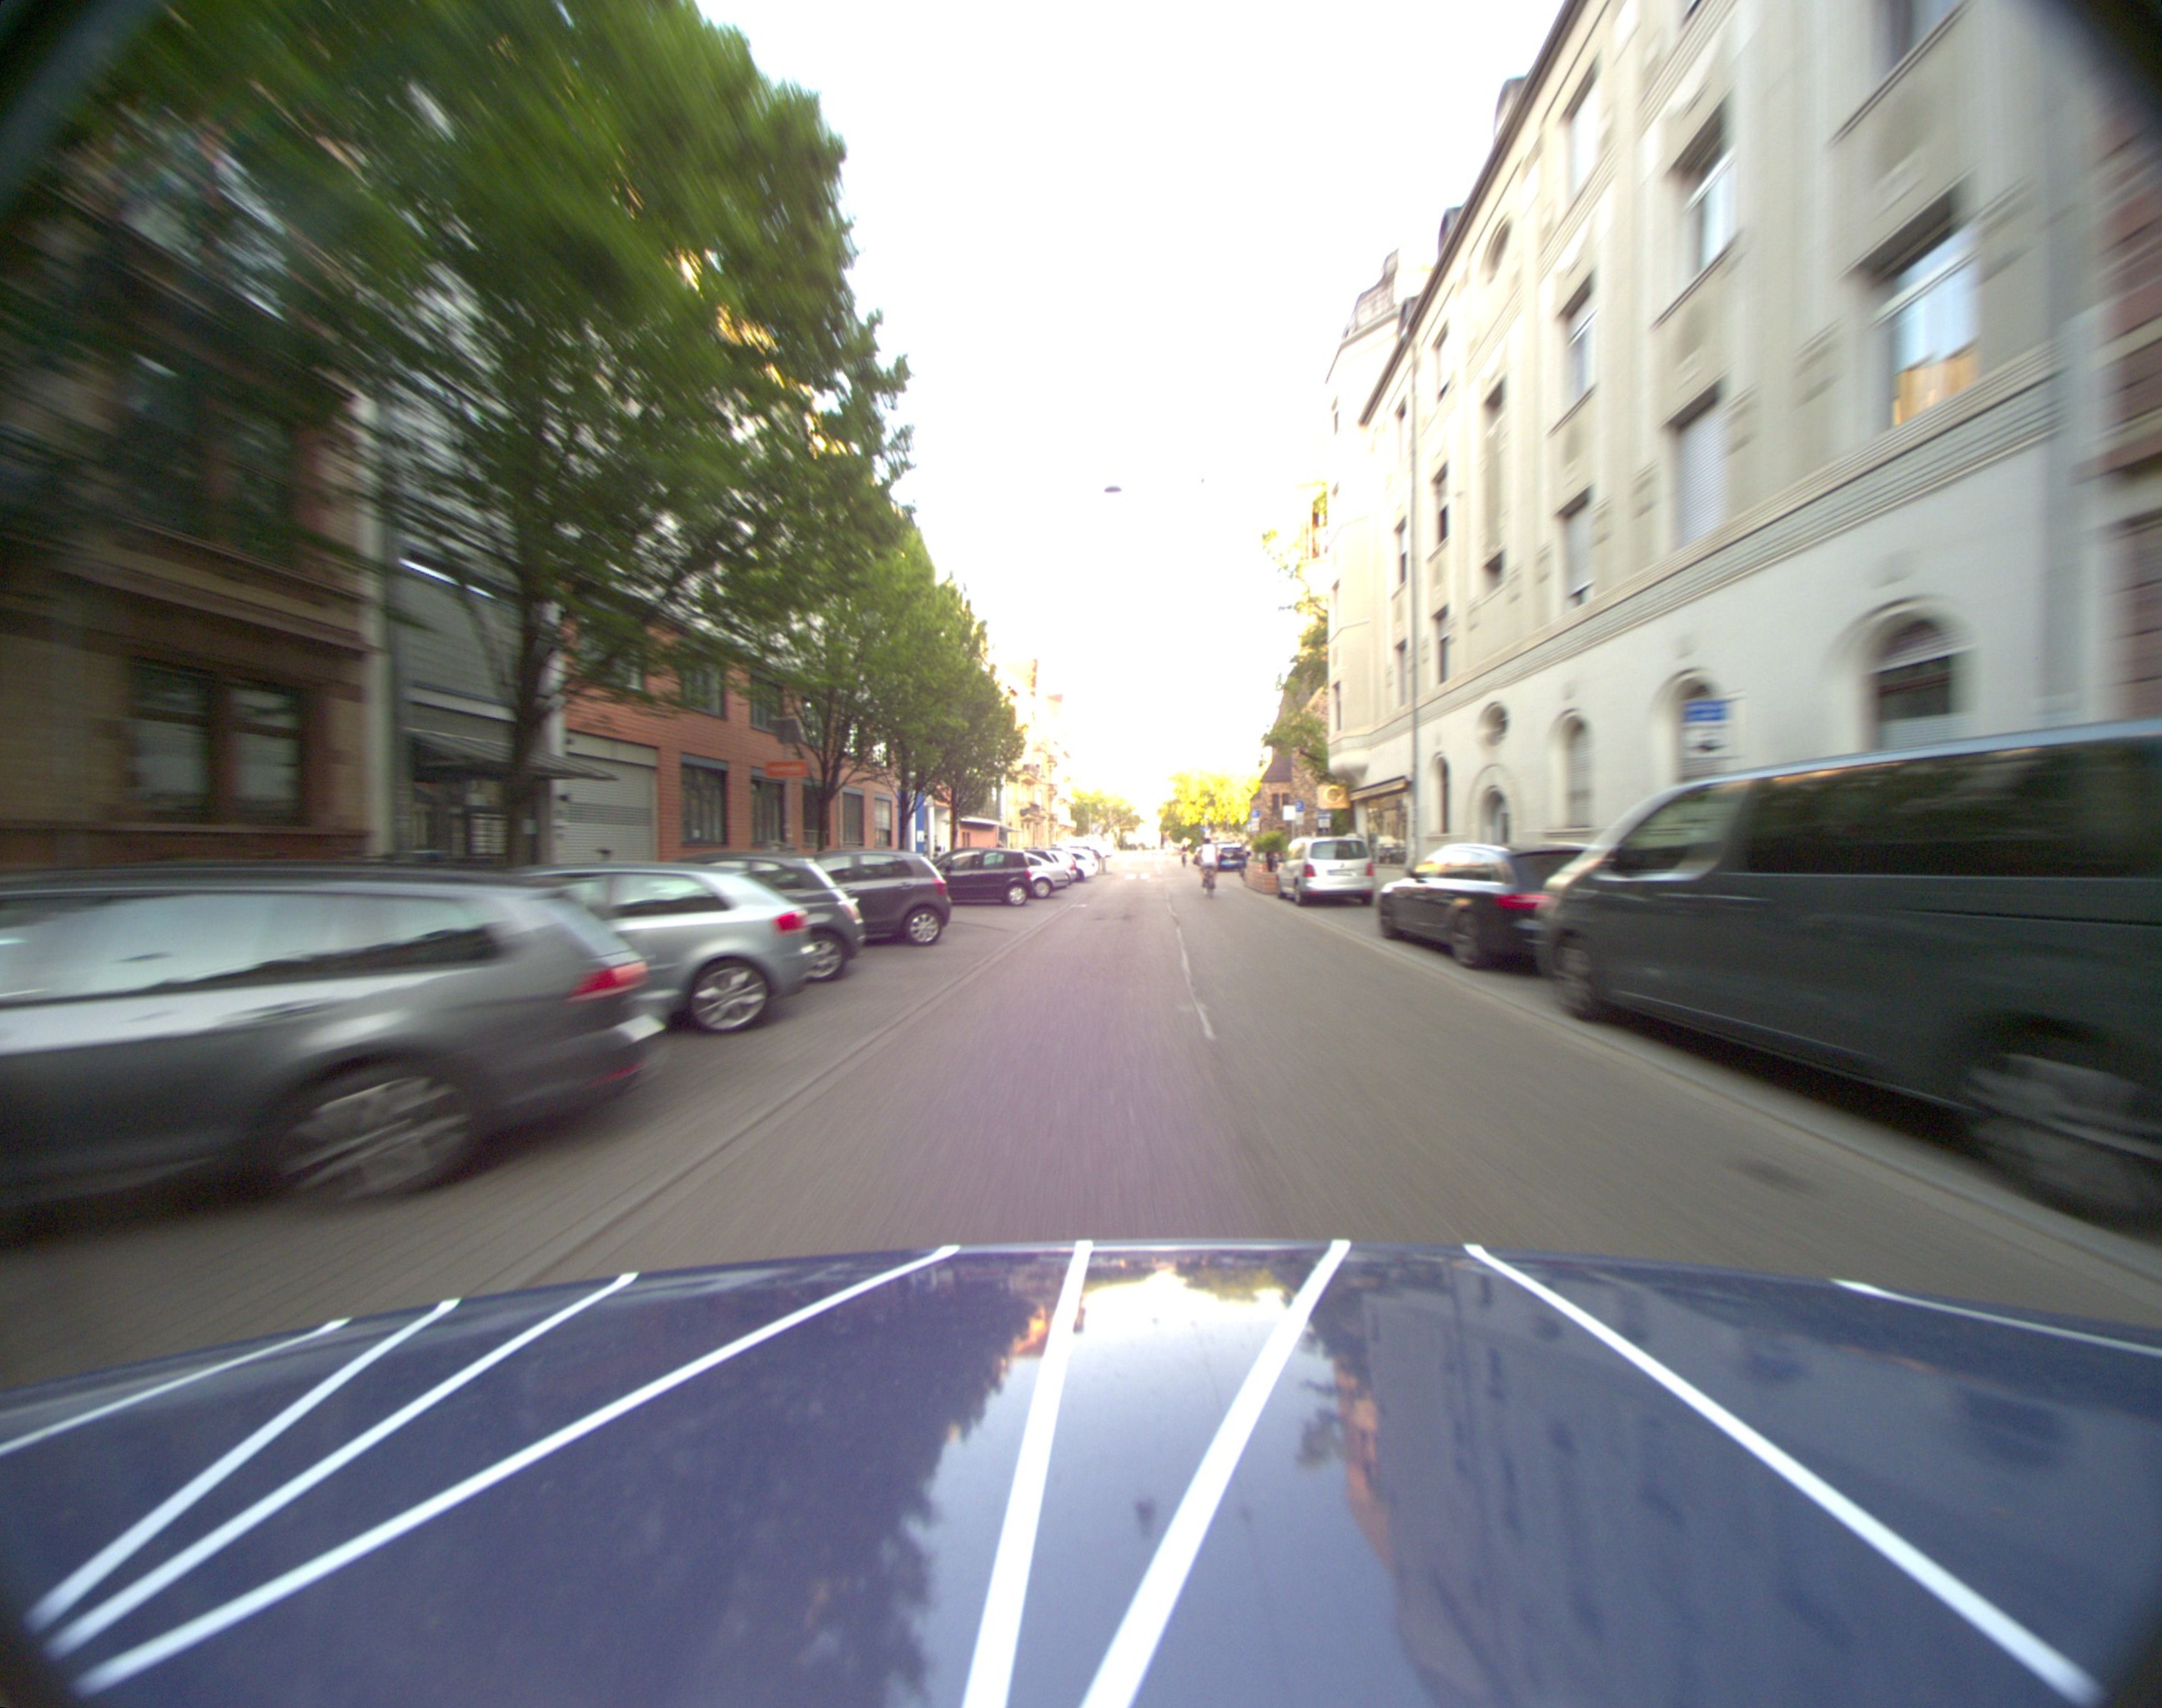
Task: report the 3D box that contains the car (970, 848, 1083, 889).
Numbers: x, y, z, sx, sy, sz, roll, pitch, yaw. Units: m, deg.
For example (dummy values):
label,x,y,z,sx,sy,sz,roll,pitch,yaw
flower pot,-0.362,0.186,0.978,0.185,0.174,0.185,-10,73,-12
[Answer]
label,x,y,z,sx,sy,sz,roll,pitch,yaw
car,-2.053,0.547,28.526,3.840,1.422,1.674,1,2,-24

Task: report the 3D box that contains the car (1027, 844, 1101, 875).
label,x,y,z,sx,sy,sz,roll,pitch,yaw
car,-0.958,0.297,42.209,3.835,1.510,1.676,2,2,-10

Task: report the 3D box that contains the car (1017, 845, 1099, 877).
label,x,y,z,sx,sy,sz,roll,pitch,yaw
car,-1.195,0.367,39.392,3.839,1.510,1.674,1,2,-23

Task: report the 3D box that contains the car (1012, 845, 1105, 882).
label,x,y,z,sx,sy,sz,roll,pitch,yaw
car,-1.017,0.433,34.316,3.840,1.510,1.673,1,2,-27

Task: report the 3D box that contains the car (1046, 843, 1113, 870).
label,x,y,z,sx,sy,sz,roll,pitch,yaw
car,-0.122,0.162,47.160,3.835,1.510,1.676,2,2,-10

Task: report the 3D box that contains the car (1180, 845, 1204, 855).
label,x,y,z,sx,sy,sz,roll,pitch,yaw
car,20.083,-0.782,137.296,4.074,1.688,1.680,2,2,16

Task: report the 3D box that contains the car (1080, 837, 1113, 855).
label,x,y,z,sx,sy,sz,roll,pitch,yaw
car,2.106,-1.046,101.957,4.201,2.280,1.673,1,2,-34

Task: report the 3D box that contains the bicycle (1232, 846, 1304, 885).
label,x,y,z,sx,sy,sz,roll,pitch,yaw
bicycle,7.174,0.446,29.161,2.618,1.391,0.602,-2,2,18

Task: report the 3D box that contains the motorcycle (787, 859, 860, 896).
label,x,y,z,sx,sy,sz,roll,pitch,yaw
motorcycle,-7.315,0.657,21.574,1.983,0.921,0.591,3,1,19

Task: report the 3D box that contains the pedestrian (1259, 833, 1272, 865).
label,x,y,z,sx,sy,sz,roll,pitch,yaw
pedestrian,10.134,-0.259,41.847,0.566,1.723,0.562,-2,2,4

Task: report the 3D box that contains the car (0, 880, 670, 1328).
label,x,y,z,sx,sy,sz,roll,pitch,yaw
car,-4.271,0.906,3.419,4.178,1.480,1.826,1,1,-31

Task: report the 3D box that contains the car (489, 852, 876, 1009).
label,x,y,z,sx,sy,sz,roll,pitch,yaw
car,-4.368,0.774,8.817,3.636,1.509,1.621,1,1,-22

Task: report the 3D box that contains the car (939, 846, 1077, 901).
label,x,y,z,sx,sy,sz,roll,pitch,yaw
car,-2.249,0.586,23.427,3.840,1.557,1.674,1,2,-24

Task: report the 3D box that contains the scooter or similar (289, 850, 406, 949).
label,x,y,z,sx,sy,sz,roll,pitch,yaw
scooter or similar,-10.193,0.608,10.585,0.329,1.274,1.068,-1,2,35

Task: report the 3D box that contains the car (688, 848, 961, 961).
label,x,y,z,sx,sy,sz,roll,pitch,yaw
car,-3.975,0.708,11.851,3.806,1.509,1.646,1,1,-27

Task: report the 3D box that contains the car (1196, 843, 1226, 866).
label,x,y,z,sx,sy,sz,roll,pitch,yaw
car,9.697,0.019,56.858,1.785,1.538,4.000,-2,1,5

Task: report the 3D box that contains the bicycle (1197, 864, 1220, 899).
label,x,y,z,sx,sy,sz,roll,pitch,yaw
bicycle,3.797,0.804,22.700,0.477,0.938,1.896,-2,1,4

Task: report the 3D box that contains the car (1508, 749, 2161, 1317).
label,x,y,z,sx,sy,sz,roll,pitch,yaw
car,4.673,0.546,4.419,1.931,1.872,4.906,-1,1,5

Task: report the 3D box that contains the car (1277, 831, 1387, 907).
label,x,y,z,sx,sy,sz,roll,pitch,yaw
car,6.058,0.307,18.771,1.729,1.638,3.917,-2,1,5

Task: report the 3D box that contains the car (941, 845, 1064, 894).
label,x,y,z,sx,sy,sz,roll,pitch,yaw
car,-2.693,0.523,26.096,3.840,1.557,1.674,1,2,-24

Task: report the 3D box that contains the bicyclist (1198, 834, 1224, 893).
label,x,y,z,sx,sy,sz,roll,pitch,yaw
bicyclist,3.839,0.269,22.530,0.624,1.682,1.004,-2,2,4

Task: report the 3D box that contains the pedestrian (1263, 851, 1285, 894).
label,x,y,z,sx,sy,sz,roll,pitch,yaw
pedestrian,6.016,0.578,23.675,0.571,1.315,0.496,-2,2,4

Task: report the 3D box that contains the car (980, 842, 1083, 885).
label,x,y,z,sx,sy,sz,roll,pitch,yaw
car,-2.049,0.390,31.292,3.839,1.639,1.674,1,2,-22

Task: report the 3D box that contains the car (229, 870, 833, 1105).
label,x,y,z,sx,sy,sz,roll,pitch,yaw
car,-4.130,0.891,6.406,3.637,1.412,1.827,1,1,-26

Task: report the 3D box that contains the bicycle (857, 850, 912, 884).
label,x,y,z,sx,sy,sz,roll,pitch,yaw
bicycle,-7.073,0.474,27.374,1.769,1.094,0.546,3,1,-2

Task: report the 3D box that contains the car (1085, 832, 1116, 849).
label,x,y,z,sx,sy,sz,roll,pitch,yaw
car,2.852,-1.961,110.348,4.200,2.246,1.673,1,2,-30

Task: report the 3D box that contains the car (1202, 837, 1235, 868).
label,x,y,z,sx,sy,sz,roll,pitch,yaw
car,8.942,-0.122,49.559,1.785,1.860,4.459,-2,1,7

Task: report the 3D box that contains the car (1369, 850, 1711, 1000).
label,x,y,z,sx,sy,sz,roll,pitch,yaw
car,5.351,0.694,9.707,1.931,1.422,4.482,-1,1,5

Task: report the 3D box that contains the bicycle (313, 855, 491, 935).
label,x,y,z,sx,sy,sz,roll,pitch,yaw
bicycle,-10.494,0.635,11.803,2.024,1.158,0.579,2,1,-12

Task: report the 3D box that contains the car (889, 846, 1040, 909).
label,x,y,z,sx,sy,sz,roll,pitch,yaw
car,-3.209,0.634,20.746,3.837,1.557,1.675,1,2,-16

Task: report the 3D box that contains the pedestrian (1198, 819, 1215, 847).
label,x,y,z,sx,sy,sz,roll,pitch,yaw
pedestrian,12.328,-2.080,74.702,1.445,2.725,1.012,-2,2,4

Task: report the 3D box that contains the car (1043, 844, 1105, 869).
label,x,y,z,sx,sy,sz,roll,pitch,yaw
car,-0.477,0.156,50.184,3.835,1.510,1.676,2,2,-10

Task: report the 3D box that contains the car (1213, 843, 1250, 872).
label,x,y,z,sx,sy,sz,roll,pitch,yaw
car,8.779,0.153,44.577,1.785,1.538,4.001,-2,1,7

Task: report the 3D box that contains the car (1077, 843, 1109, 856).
label,x,y,z,sx,sy,sz,roll,pitch,yaw
car,1.567,-0.578,98.877,3.841,1.510,1.673,1,2,-30

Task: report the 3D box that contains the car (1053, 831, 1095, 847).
label,x,y,z,sx,sy,sz,roll,pitch,yaw
car,-0.692,-1.474,75.849,3.839,1.510,1.674,1,2,-23

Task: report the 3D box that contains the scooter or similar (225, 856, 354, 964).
label,x,y,z,sx,sy,sz,roll,pitch,yaw
scooter or similar,-10.094,0.682,9.720,0.329,1.274,1.068,0,2,43

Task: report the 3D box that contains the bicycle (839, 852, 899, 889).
label,x,y,z,sx,sy,sz,roll,pitch,yaw
bicycle,-6.961,0.532,24.952,1.769,1.094,0.546,3,1,-2
